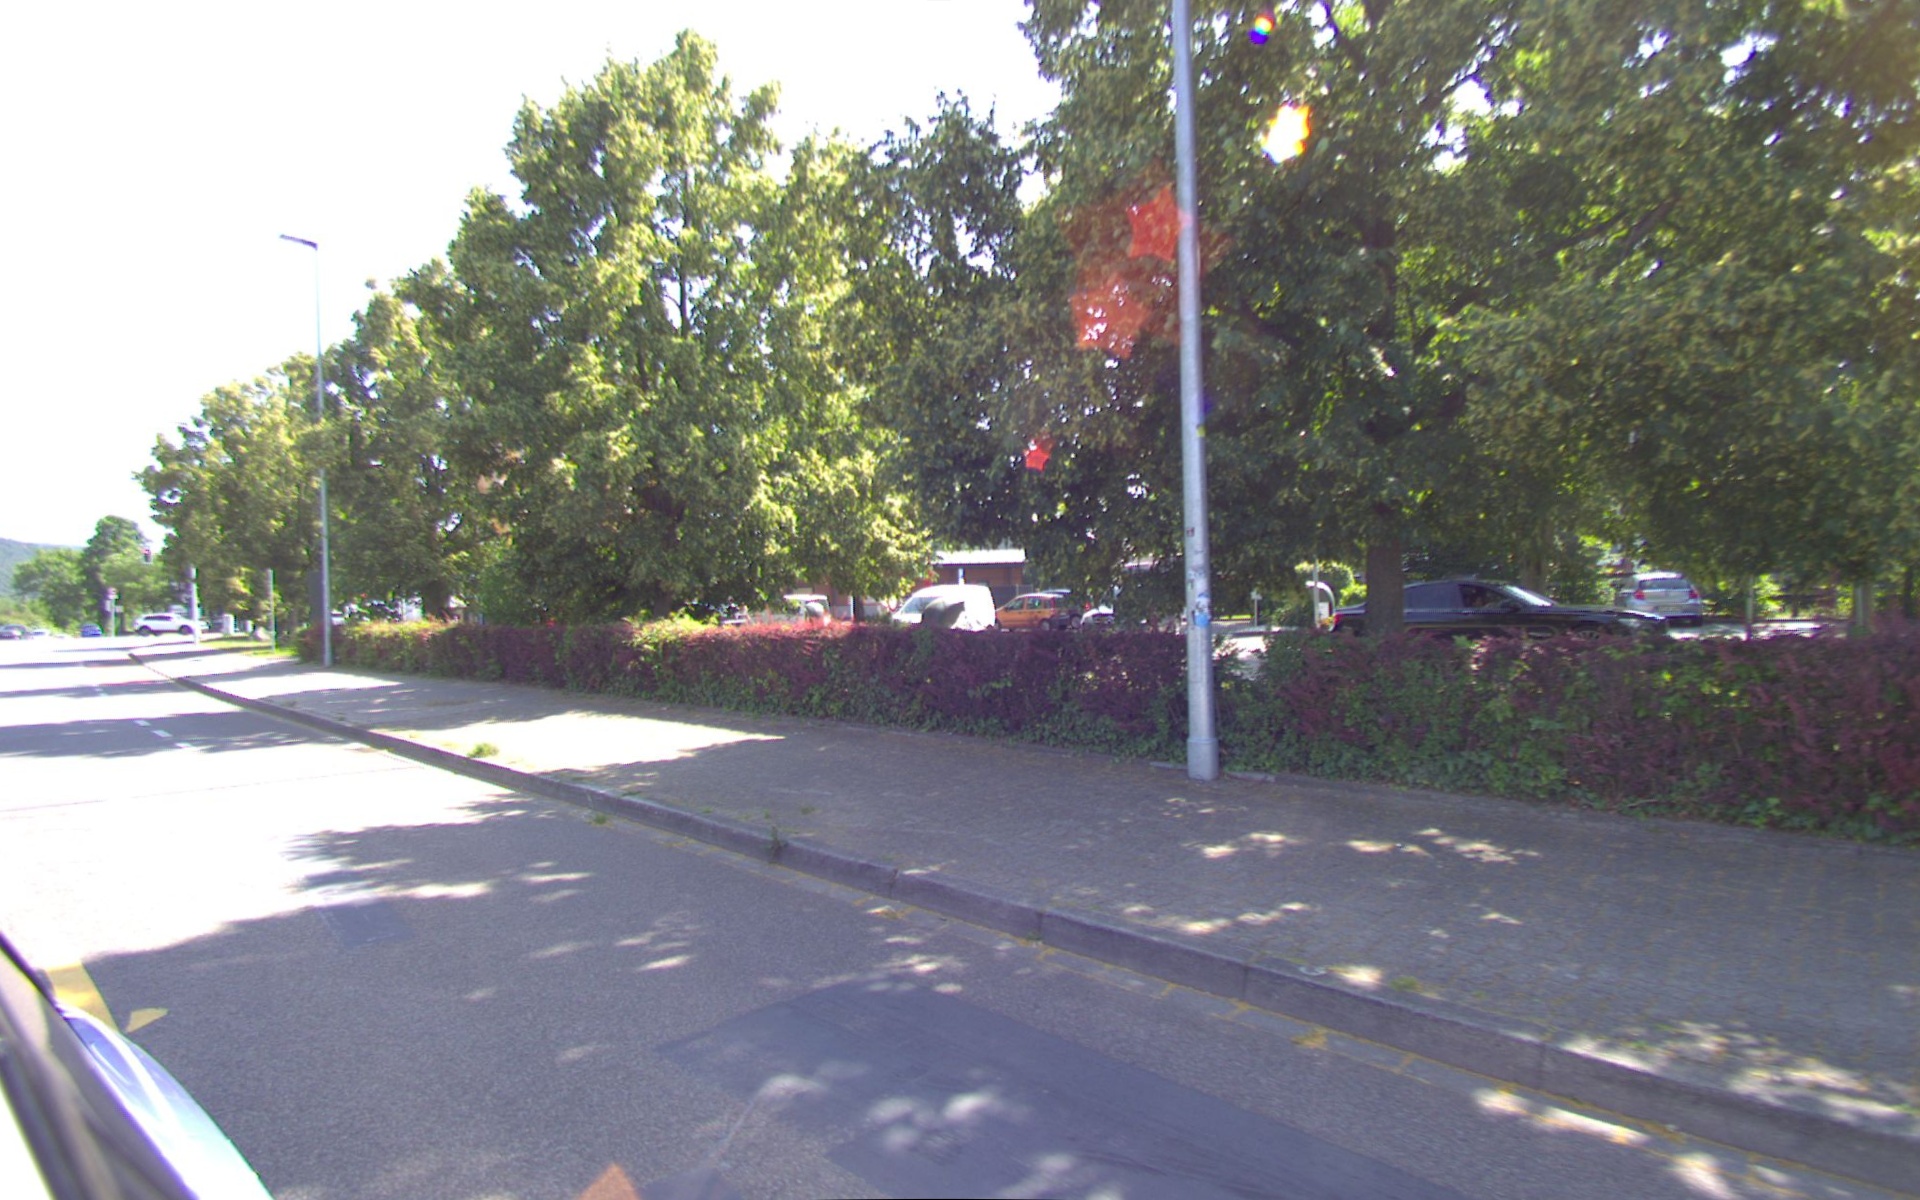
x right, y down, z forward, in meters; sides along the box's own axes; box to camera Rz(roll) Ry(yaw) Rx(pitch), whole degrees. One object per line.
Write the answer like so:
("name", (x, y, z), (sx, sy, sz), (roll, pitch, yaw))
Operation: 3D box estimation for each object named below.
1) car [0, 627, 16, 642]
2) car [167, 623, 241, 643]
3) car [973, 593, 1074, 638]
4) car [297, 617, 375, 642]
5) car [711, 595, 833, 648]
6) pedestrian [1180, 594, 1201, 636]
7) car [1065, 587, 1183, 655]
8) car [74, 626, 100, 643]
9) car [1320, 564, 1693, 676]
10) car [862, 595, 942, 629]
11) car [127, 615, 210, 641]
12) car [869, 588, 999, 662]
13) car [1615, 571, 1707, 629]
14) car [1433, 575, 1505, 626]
("car", (-82.411, 2.977, 87.119), (1.587, 1.264, 3.685), (-2, 0, -44))
("car", (-60.209, 2.619, 80.698), (4.297, 1.356, 1.837), (-2, 3, -15))
("car", (2.529, 0.631, 40.600), (3.713, 1.644, 1.650), (-2, 1, 33))
("car", (-47.788, 2.226, 77.560), (4.689, 1.664, 1.836), (-2, 3, -12))
("car", (-7.067, 0.826, 37.964), (4.202, 1.812, 1.746), (-2, 0, 24))
("pedestrian", (8.323, 0.544, 36.520), (0.494, 1.471, 0.545), (-2, 2, 35))
("car", (4.419, 0.528, 26.832), (1.897, 1.595, 3.774), (-2, 1, 28))
("car", (-83.212, 3.270, 96.449), (1.587, 1.547, 3.685), (-1, 0, -44))
("car", (8.830, 0.304, 16.721), (2.044, 1.572, 5.034), (-1, 0, -44))
("car", (-3.093, 0.613, 53.359), (3.935, 1.606, 1.931), (-2, 0, -10))
("car", (-59.106, 2.081, 75.633), (4.505, 1.664, 1.837), (-2, 3, -12))
("car", (-0.615, 0.635, 28.061), (1.740, 1.841, 4.315), (-3, -1, 26))
("car", (19.563, -0.042, 28.376), (1.788, 1.461, 4.006), (-2, 1, 31))
("car", (17.778, -0.013, 35.276), (1.814, 1.588, 3.827), (-2, 1, 33))
